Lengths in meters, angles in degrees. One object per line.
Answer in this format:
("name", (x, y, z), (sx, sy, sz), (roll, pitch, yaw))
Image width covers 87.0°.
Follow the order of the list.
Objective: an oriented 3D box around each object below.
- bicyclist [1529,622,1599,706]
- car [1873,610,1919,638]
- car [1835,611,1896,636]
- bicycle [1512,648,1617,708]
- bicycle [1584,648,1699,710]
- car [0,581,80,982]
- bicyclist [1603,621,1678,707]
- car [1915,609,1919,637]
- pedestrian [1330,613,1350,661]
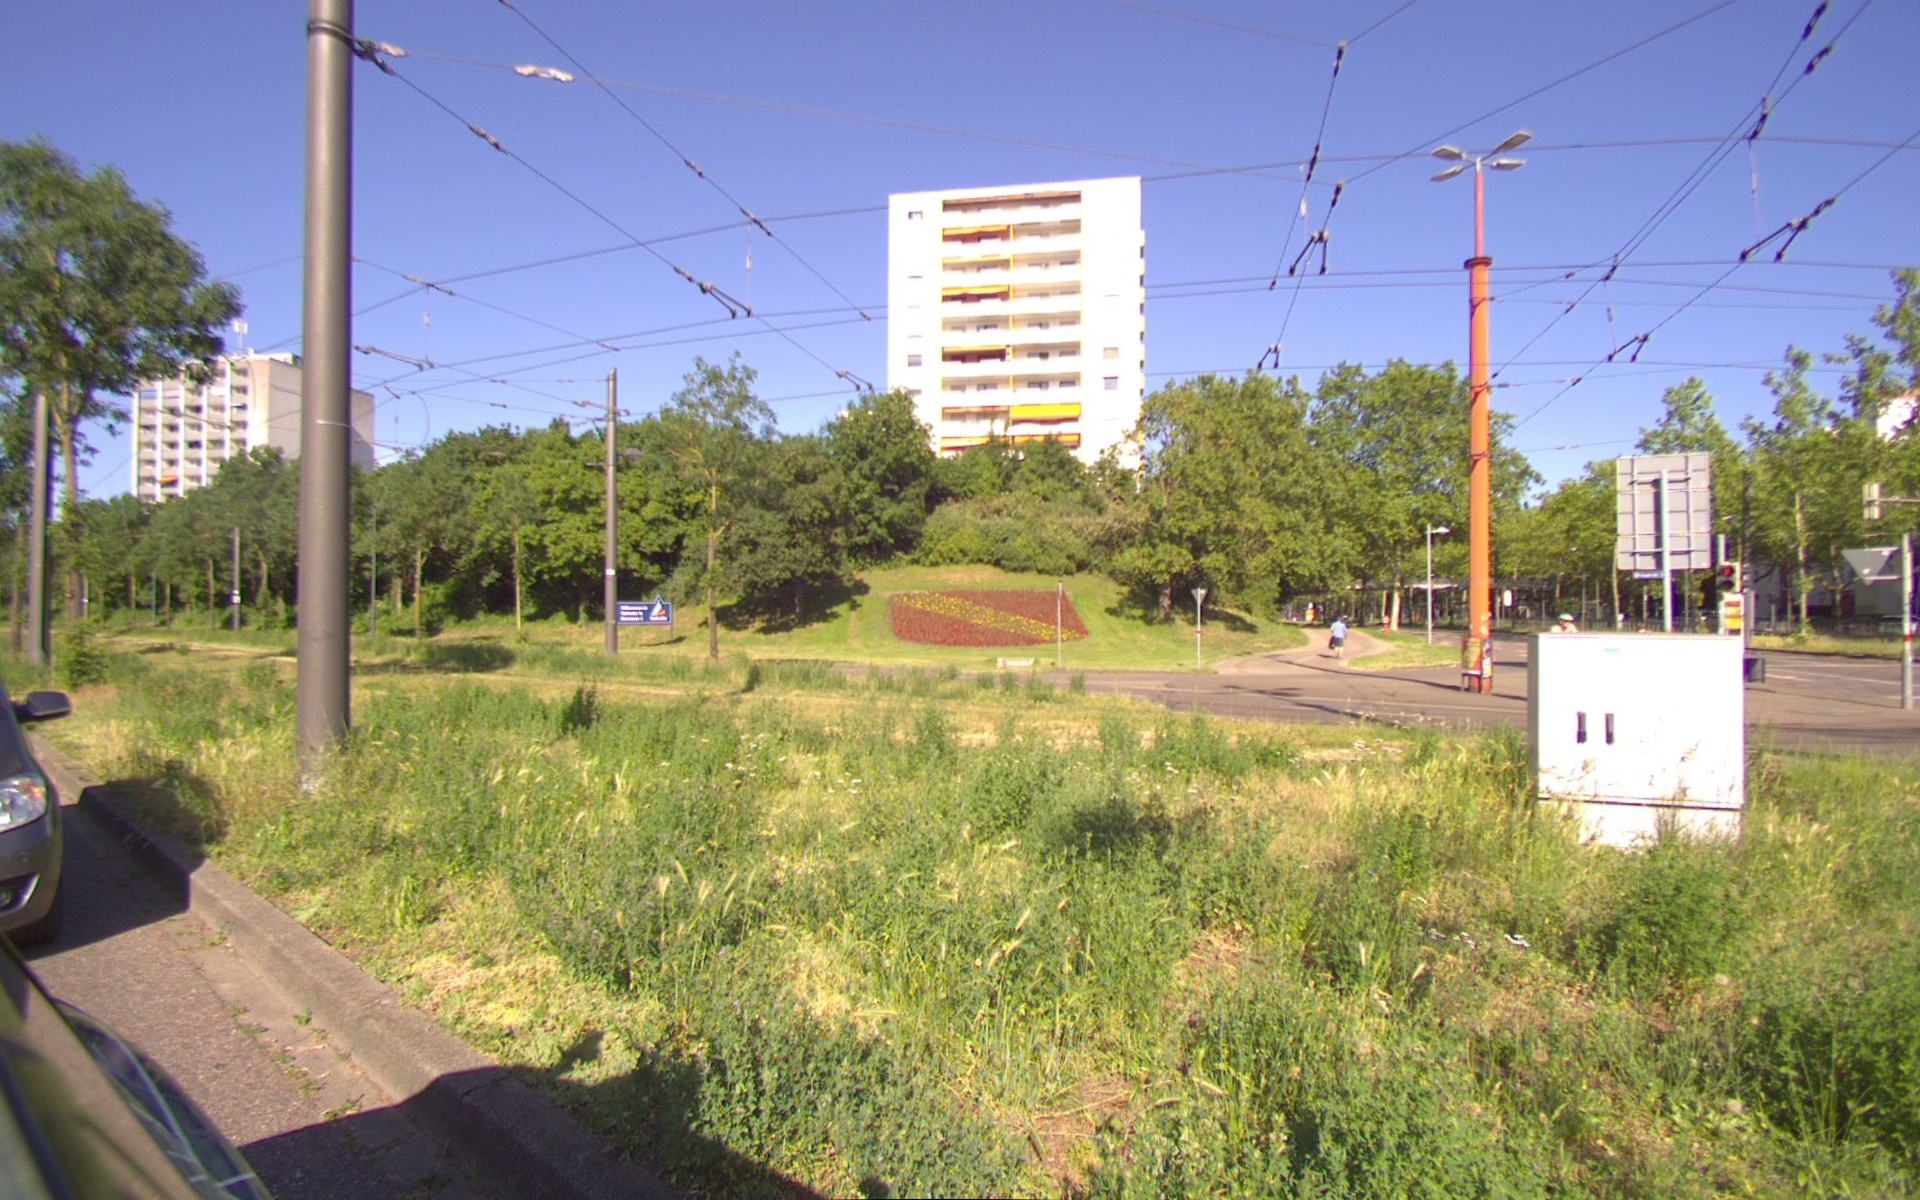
("bicyclist", (12.098, 1.262, 20.303), (0.920, 1.650, 0.741), (0, -1, -1))
("car", (65.251, 1.651, 69.867), (3.931, 1.829, 2.006), (1, -2, -27))
("car", (66.019, 1.708, 73.763), (3.931, 1.829, 2.006), (1, -2, -27))
("bicycle", (12.093, 1.539, 20.320), (0.915, 1.095, 1.888), (0, -1, -2))
("bicycle", (13.359, 1.524, 19.918), (0.915, 1.095, 1.888), (0, -1, -2))
("car", (-5.939, 0.757, 5.046), (4.382, 1.619, 1.754), (-1, -2, 41))
("bicyclist", (13.355, 1.245, 19.885), (0.920, 1.650, 0.741), (0, -1, -1))
("car", (64.409, 1.513, 65.904), (3.931, 1.829, 2.006), (1, -2, -27))
("pedestrian", (15.685, 1.527, 41.775), (0.729, 1.949, 0.726), (-1, -2, 24))
